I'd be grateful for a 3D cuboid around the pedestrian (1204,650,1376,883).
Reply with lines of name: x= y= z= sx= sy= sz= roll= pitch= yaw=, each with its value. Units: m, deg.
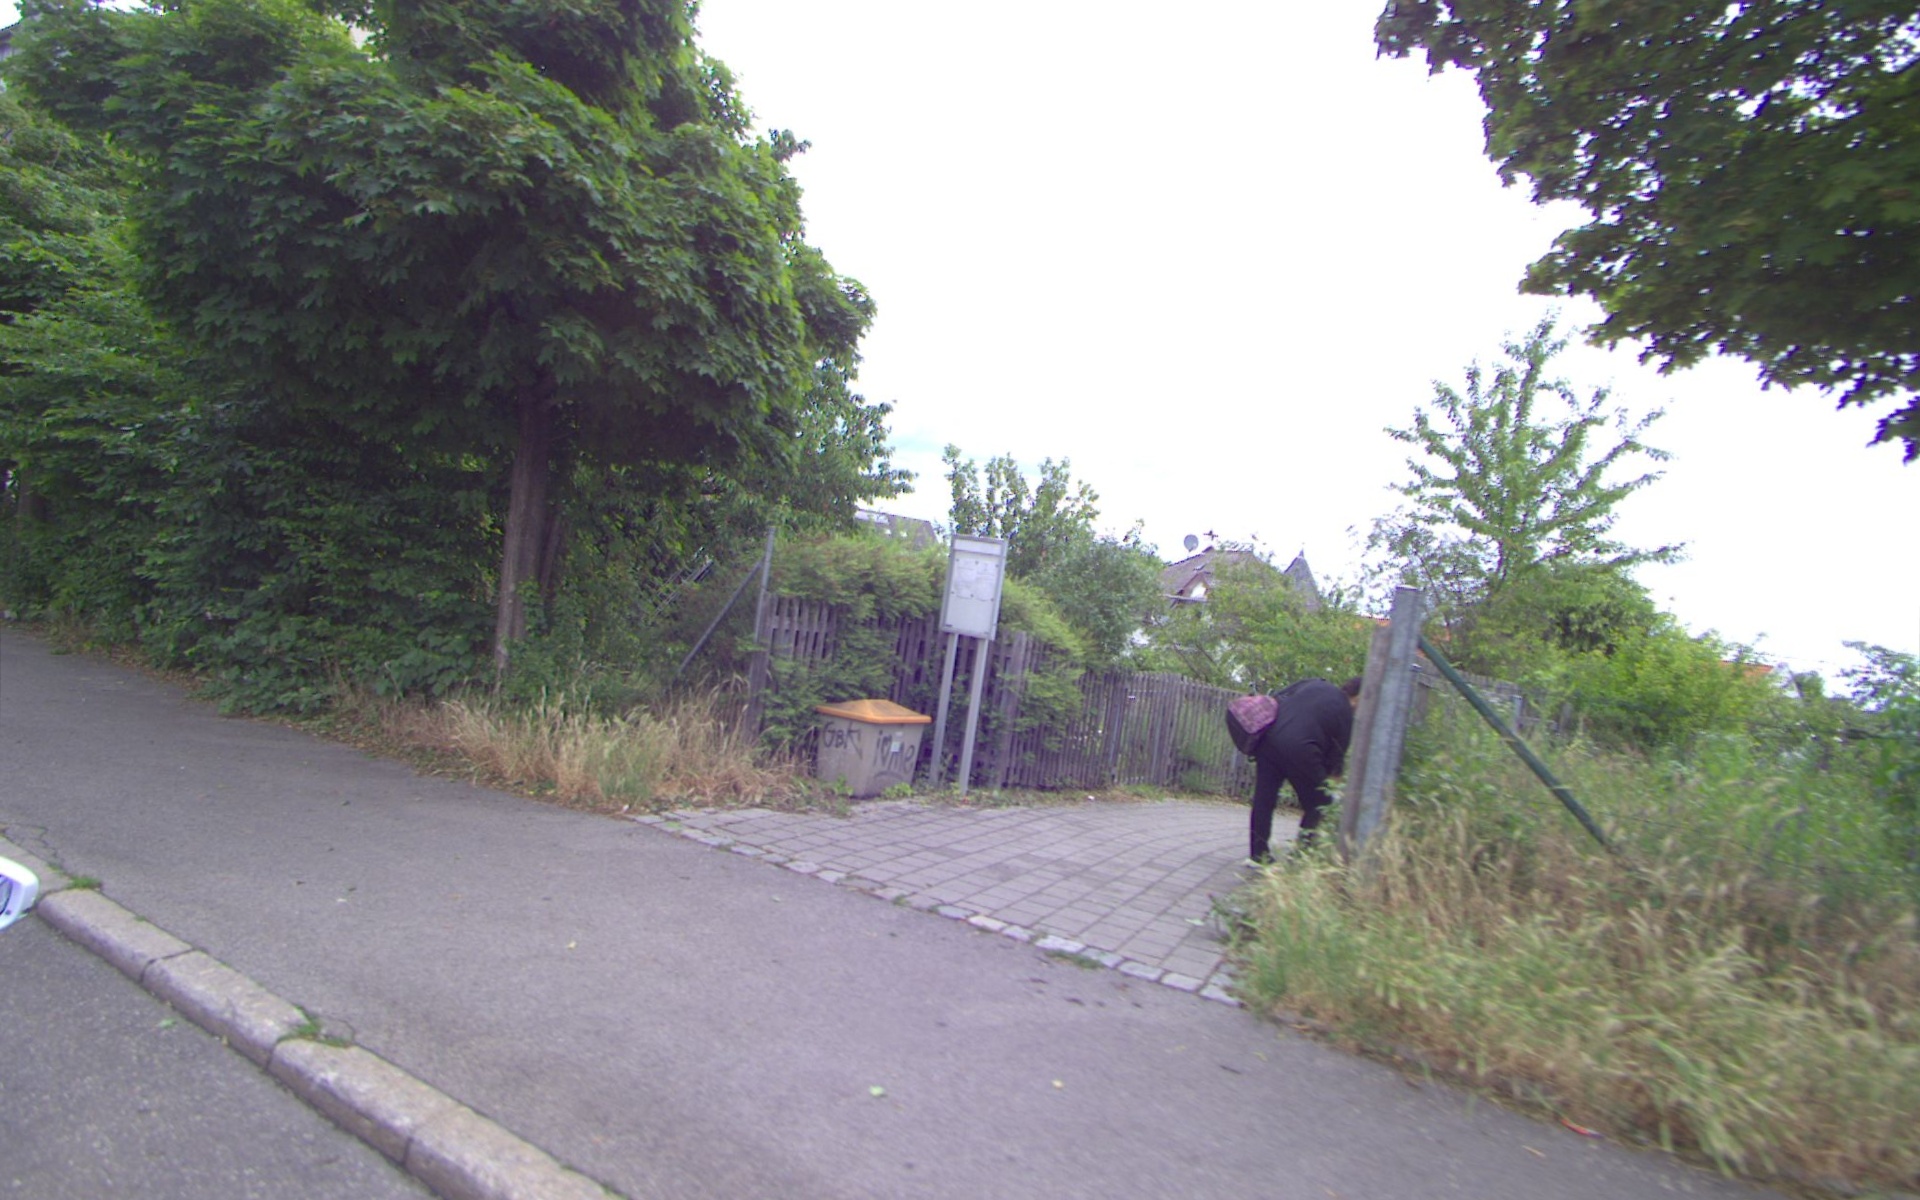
pedestrian: x=2.185 y=1.049 z=6.629 sx=0.794 sy=1.325 sz=0.746 roll=7 pitch=1 yaw=31
